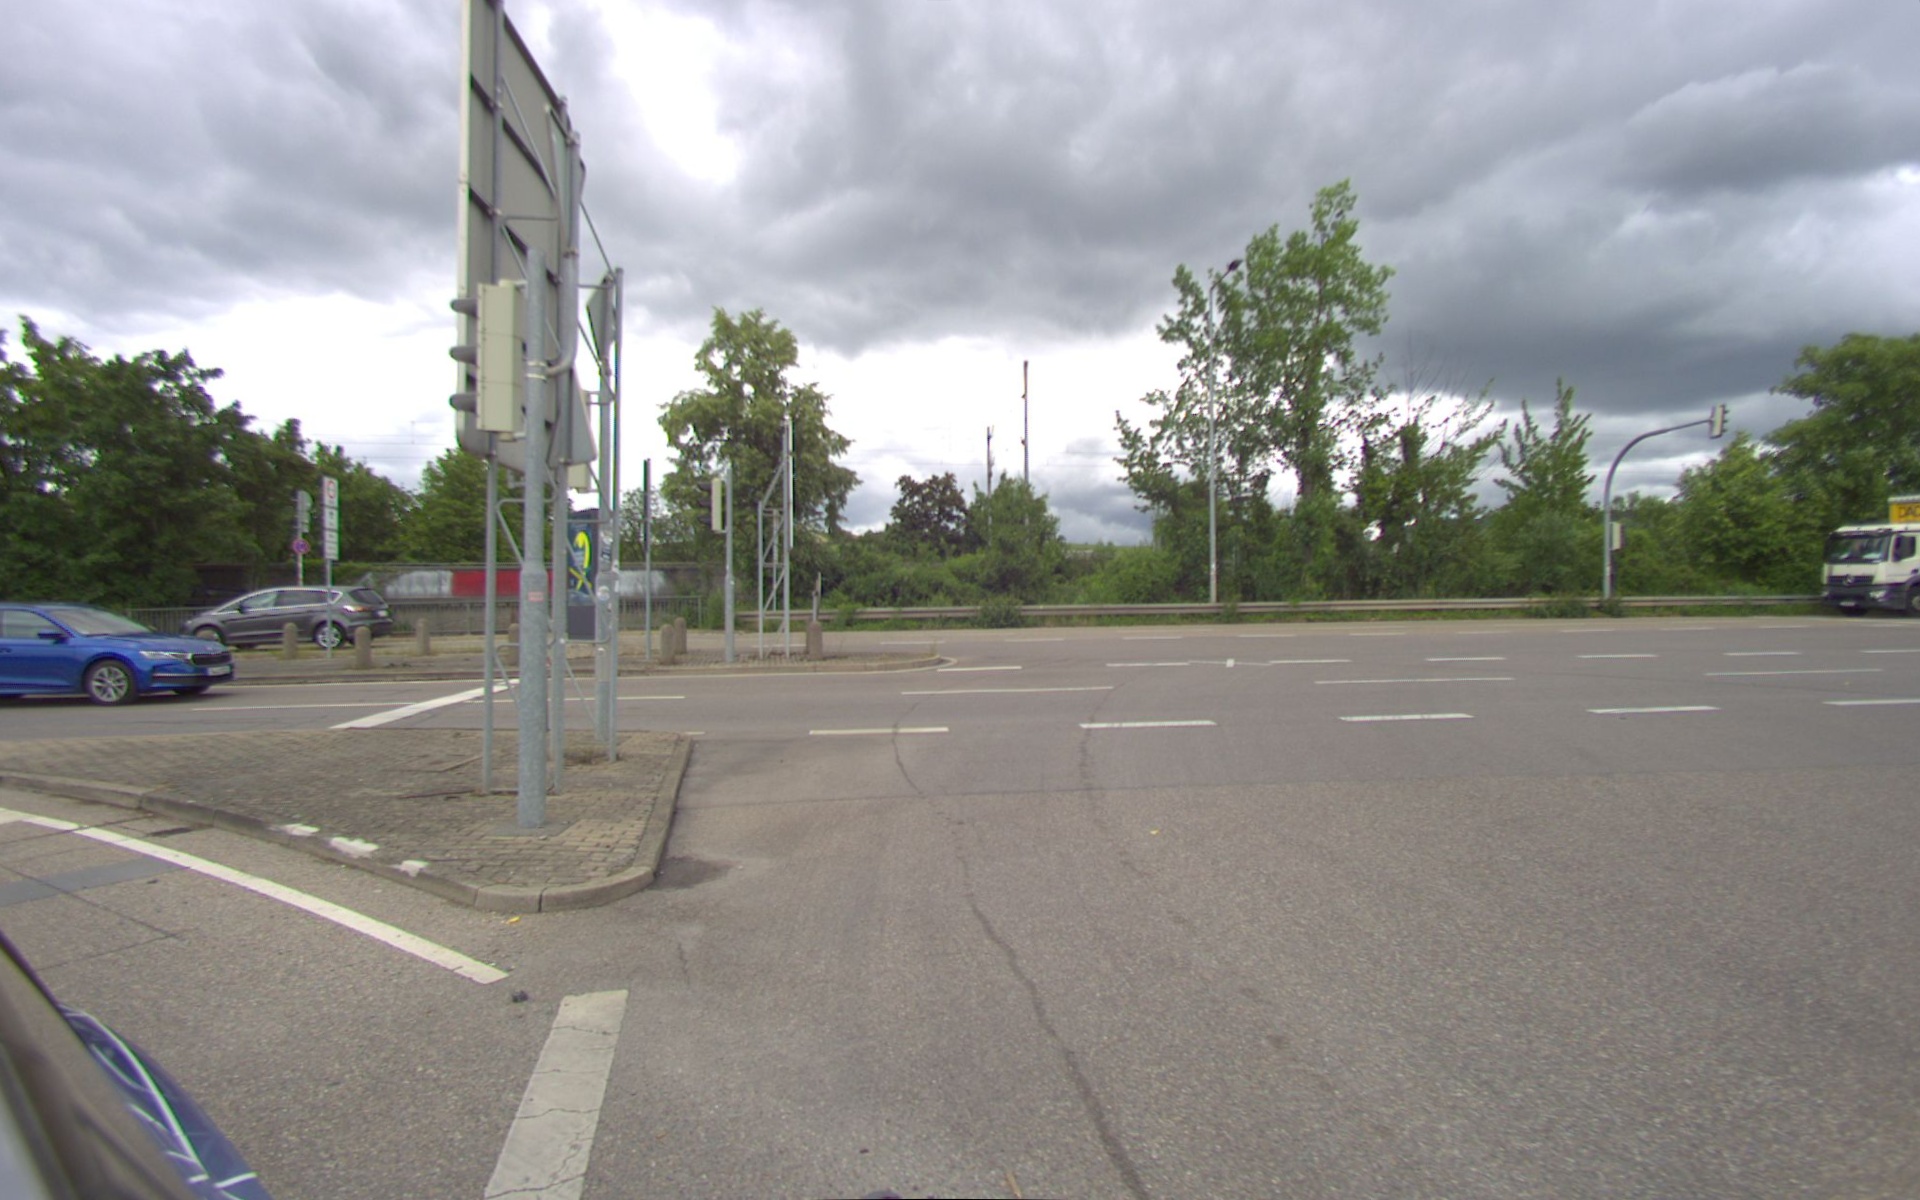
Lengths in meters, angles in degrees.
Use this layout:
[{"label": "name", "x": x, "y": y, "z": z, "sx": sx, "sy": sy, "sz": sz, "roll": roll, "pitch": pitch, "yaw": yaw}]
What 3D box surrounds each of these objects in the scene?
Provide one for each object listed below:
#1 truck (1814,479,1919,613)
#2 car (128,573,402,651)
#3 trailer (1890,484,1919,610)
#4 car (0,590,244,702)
[{"label": "truck", "x": 32.040, "y": -1.746, "z": 33.702, "sx": 5.024, "sy": 4.236, "sz": 2.638, "roll": -1, "pitch": 0, "yaw": -5}, {"label": "car", "x": -17.696, "y": 0.269, "z": 26.055, "sx": 5.404, "sy": 1.769, "sz": 2.138, "roll": -2, "pitch": 1, "yaw": -9}, {"label": "trailer", "x": 38.095, "y": -1.861, "z": 34.219, "sx": 11.478, "sy": 4.236, "sz": 2.638, "roll": -1, "pitch": 0, "yaw": -5}, {"label": "car", "x": -13.127, "y": 0.639, "z": 14.502, "sx": 4.474, "sy": 1.465, "sz": 1.612, "roll": -1, "pitch": 1, "yaw": -4}]
